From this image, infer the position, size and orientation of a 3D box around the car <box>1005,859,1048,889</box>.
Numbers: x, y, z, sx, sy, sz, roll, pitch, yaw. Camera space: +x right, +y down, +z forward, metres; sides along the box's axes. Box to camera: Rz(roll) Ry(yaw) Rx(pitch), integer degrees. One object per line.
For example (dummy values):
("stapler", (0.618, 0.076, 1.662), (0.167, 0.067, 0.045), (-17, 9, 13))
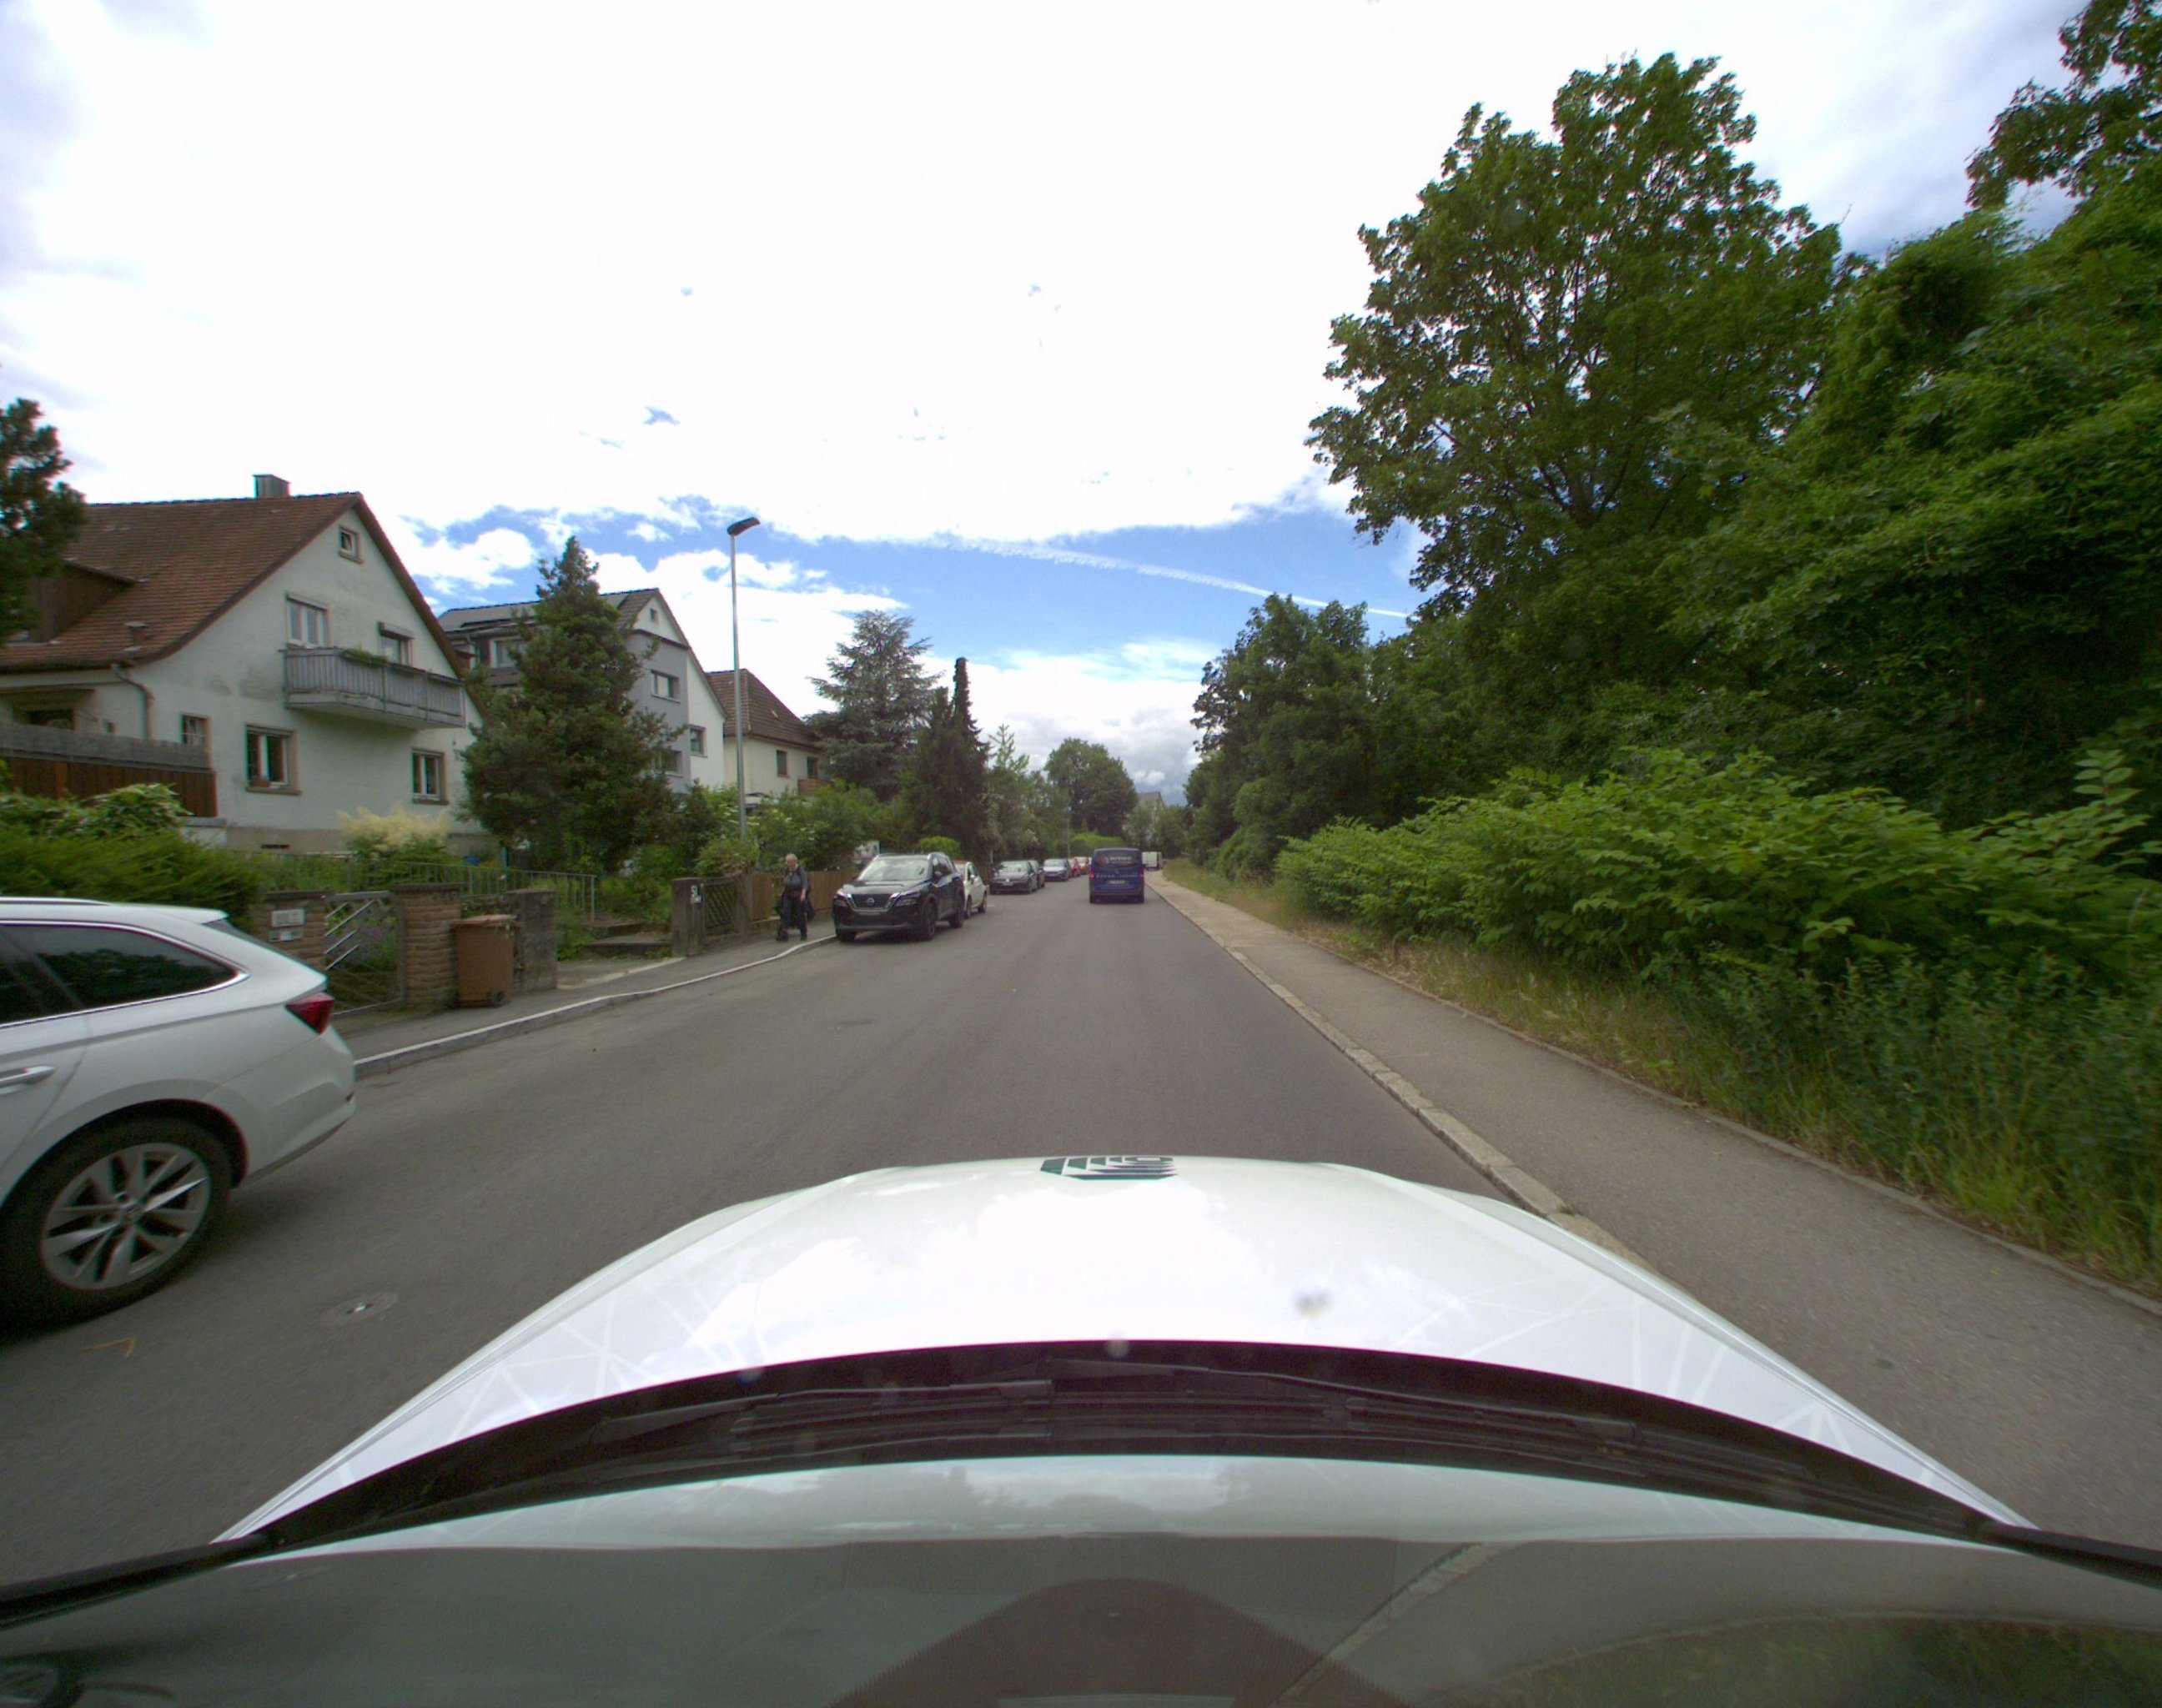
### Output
("car", (-2.717, 0.979, 41.203), (1.700, 1.416, 4.134), (-1, 0, 2))

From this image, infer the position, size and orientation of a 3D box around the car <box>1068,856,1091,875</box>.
("car", (-0.102, 0.989, 71.305), (1.535, 1.514, 3.651), (-1, 0, 7))

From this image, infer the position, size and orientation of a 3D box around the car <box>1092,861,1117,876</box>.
("car", (2.403, 1.429, 83.357), (1.707, 1.385, 4.679), (-1, 0, 12))

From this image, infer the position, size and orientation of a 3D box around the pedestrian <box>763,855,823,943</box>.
("pedestrian", (-5.340, 0.819, 15.163), (0.766, 1.574, 0.821), (-1, 0, 3))

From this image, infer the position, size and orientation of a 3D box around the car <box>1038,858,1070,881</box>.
("car", (-1.721, 0.968, 53.066), (1.700, 1.410, 4.163), (-1, 0, 2))

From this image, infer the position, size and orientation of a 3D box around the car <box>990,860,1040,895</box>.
("car", (-2.891, 0.993, 36.276), (1.700, 1.416, 4.151), (-1, 0, 2))

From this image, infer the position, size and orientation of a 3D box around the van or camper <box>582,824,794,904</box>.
("van or camper", (-13.827, 0.311, 28.771), (6.636, 2.651, 2.331), (0, 0, 11))

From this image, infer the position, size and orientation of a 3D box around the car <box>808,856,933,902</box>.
("car", (-7.555, 0.867, 29.321), (3.956, 1.547, 1.850), (0, 0, 16))

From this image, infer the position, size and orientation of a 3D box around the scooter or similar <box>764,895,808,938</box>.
("scooter or similar", (-5.758, 1.212, 15.920), (0.569, 0.778, 0.711), (-1, 0, 0))

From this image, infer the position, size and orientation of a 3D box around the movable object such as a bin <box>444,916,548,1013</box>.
("movable object such as a bin", (-6.214, 1.157, 8.678), (0.609, 0.932, 0.655), (-1, 0, 2))

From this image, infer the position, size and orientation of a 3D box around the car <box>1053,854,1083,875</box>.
("car", (-0.967, 0.806, 64.081), (1.698, 1.514, 4.372), (-1, 0, 7))

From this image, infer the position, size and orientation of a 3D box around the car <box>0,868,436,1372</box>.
("car", (-4.218, 0.844, 1.805), (1.699, 1.511, 4.559), (-1, 0, 4))

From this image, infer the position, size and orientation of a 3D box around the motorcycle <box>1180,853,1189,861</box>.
("motorcycle", (18.947, 0.499, 148.763), (0.802, 1.485, 2.911), (-1, -1, 22))

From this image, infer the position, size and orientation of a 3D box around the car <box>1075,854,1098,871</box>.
("car", (0.525, 0.733, 75.960), (1.579, 1.514, 3.599), (-1, 0, 9))

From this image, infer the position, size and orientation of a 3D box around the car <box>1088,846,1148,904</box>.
("car", (1.258, 0.693, 29.024), (1.929, 1.880, 4.531), (-1, 0, 1))

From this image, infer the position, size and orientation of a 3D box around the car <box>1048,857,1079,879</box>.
("car", (-1.188, 0.971, 58.606), (1.699, 1.514, 4.502), (-1, 0, 5))

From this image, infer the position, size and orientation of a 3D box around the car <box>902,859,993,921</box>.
("car", (-3.576, 0.924, 22.495), (1.700, 1.511, 3.948), (-1, 0, 2))

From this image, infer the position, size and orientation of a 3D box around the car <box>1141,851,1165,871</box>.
("car", (7.777, 0.716, 87.922), (2.193, 2.064, 6.149), (-2, 0, 8))

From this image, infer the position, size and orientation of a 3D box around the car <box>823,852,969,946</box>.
("car", (-3.675, 0.820, 17.034), (1.784, 1.664, 4.395), (-1, 0, 3))
